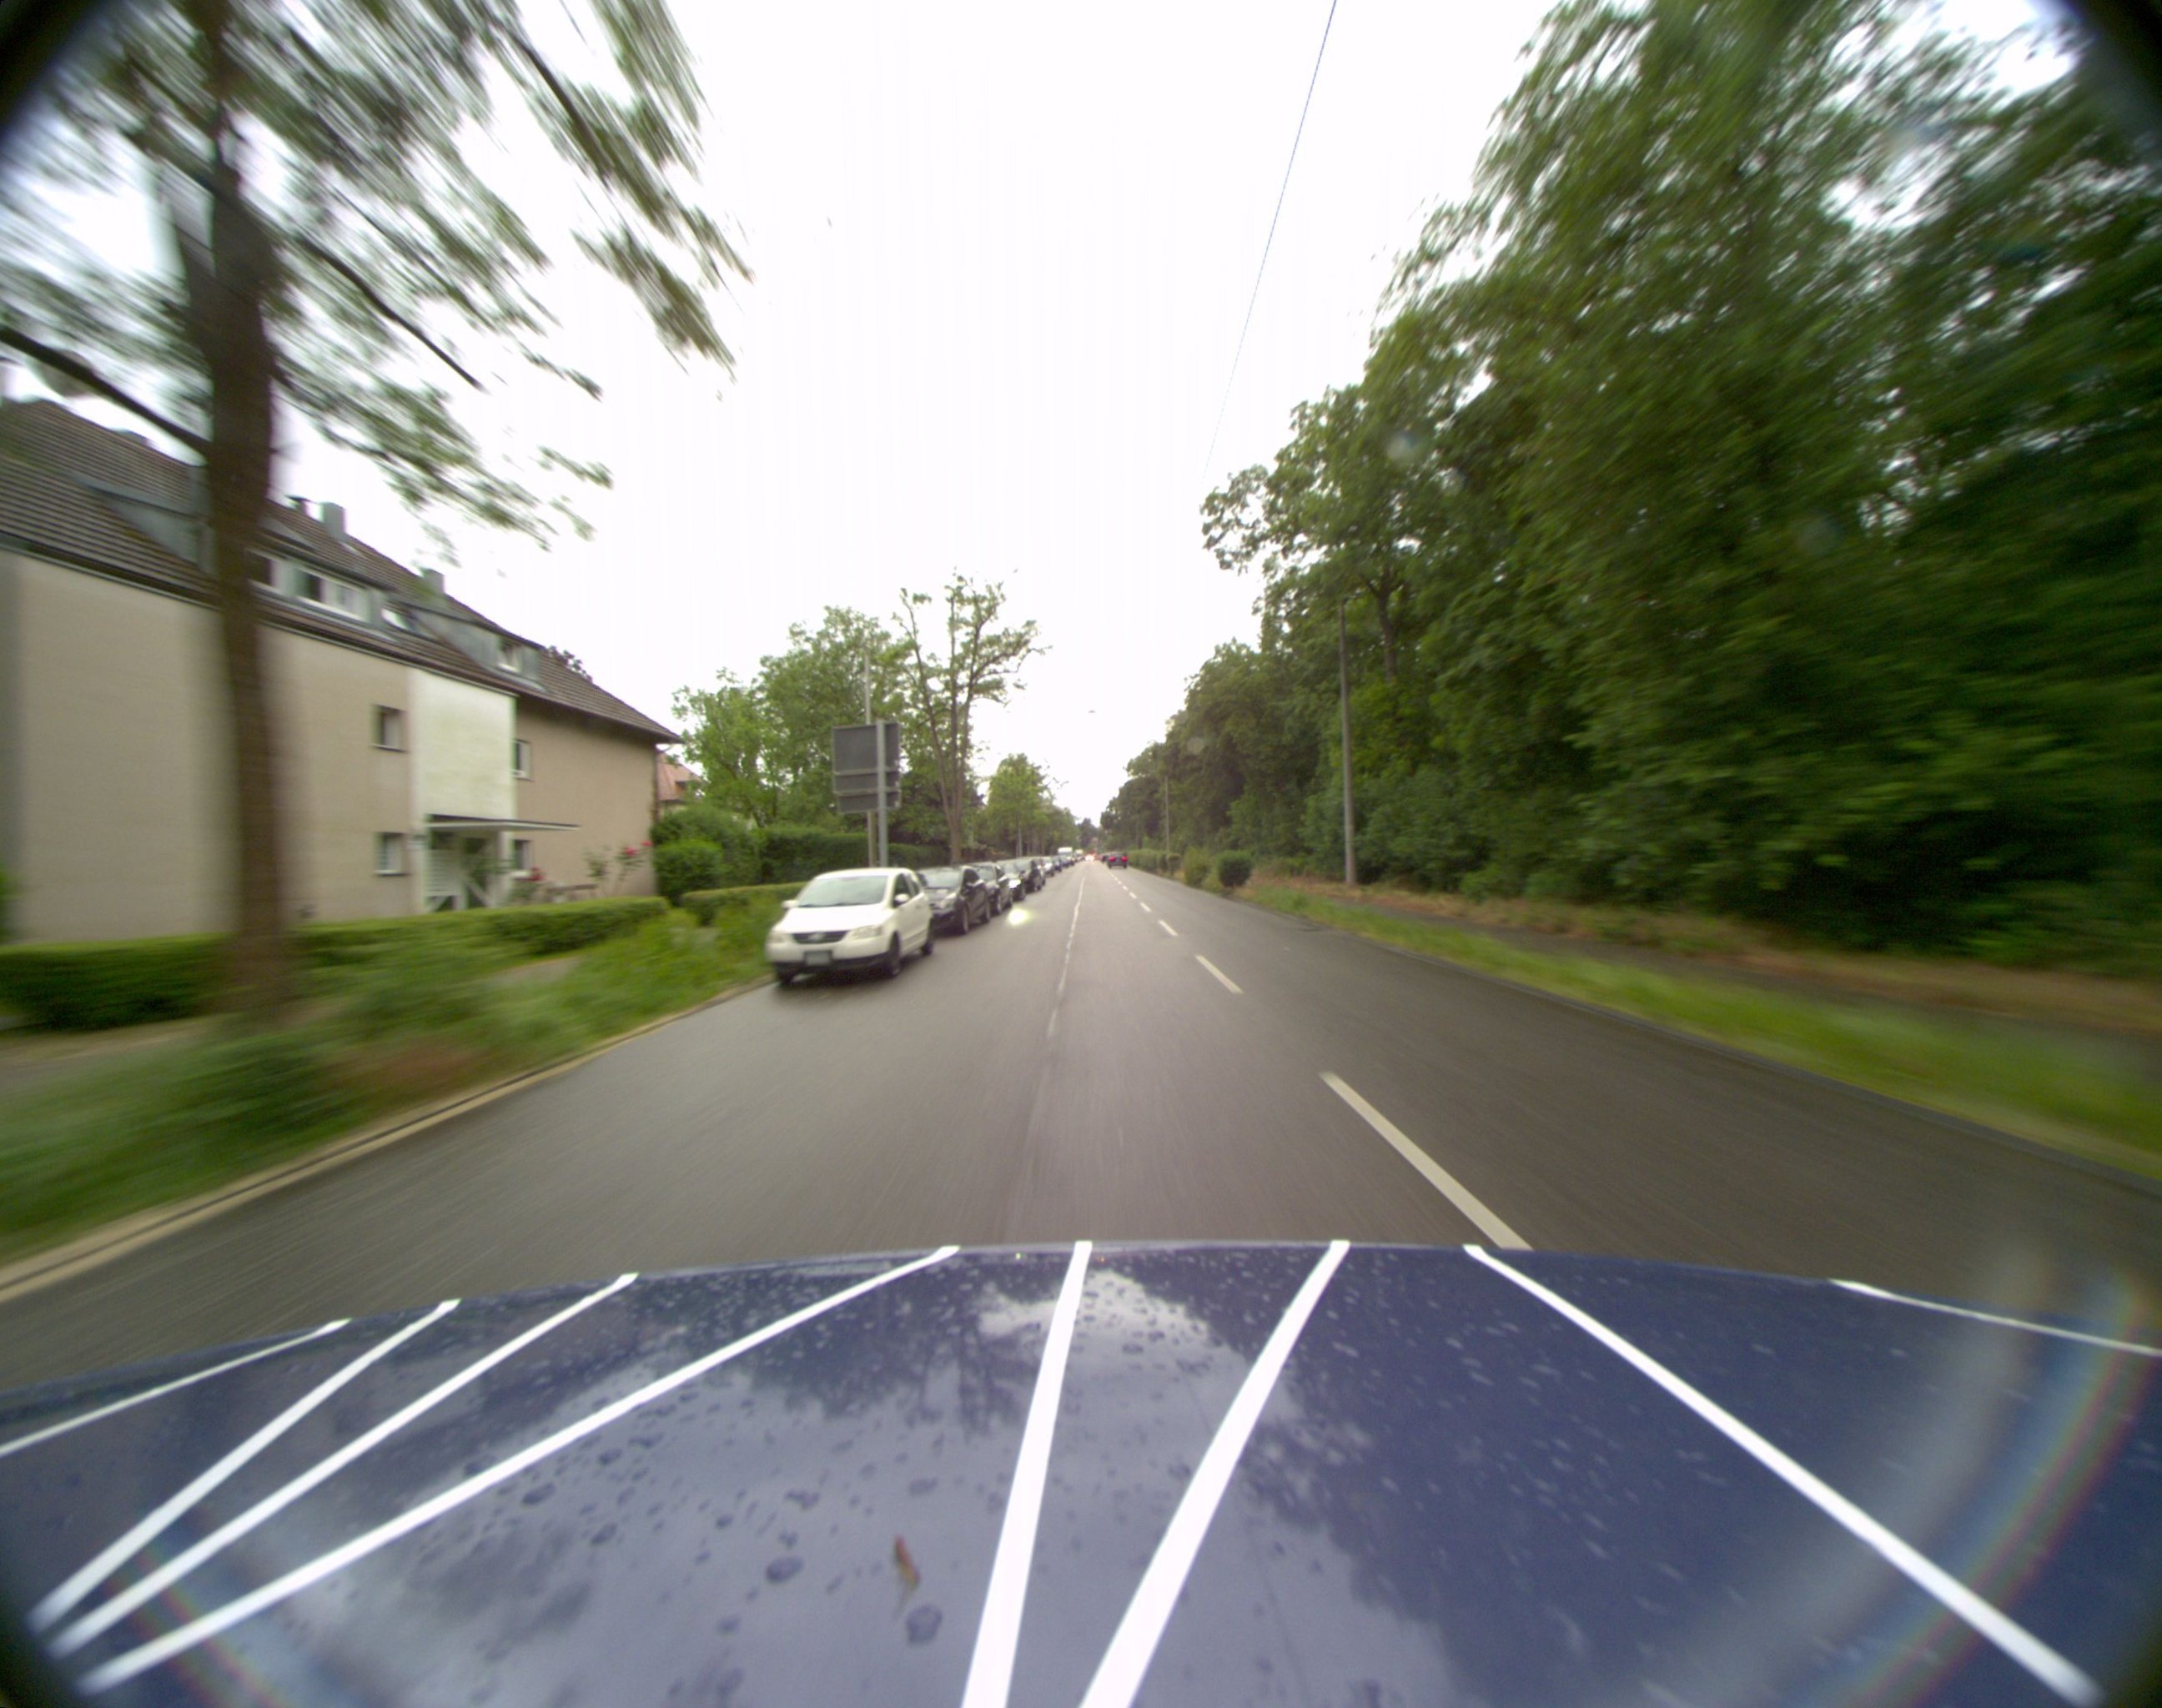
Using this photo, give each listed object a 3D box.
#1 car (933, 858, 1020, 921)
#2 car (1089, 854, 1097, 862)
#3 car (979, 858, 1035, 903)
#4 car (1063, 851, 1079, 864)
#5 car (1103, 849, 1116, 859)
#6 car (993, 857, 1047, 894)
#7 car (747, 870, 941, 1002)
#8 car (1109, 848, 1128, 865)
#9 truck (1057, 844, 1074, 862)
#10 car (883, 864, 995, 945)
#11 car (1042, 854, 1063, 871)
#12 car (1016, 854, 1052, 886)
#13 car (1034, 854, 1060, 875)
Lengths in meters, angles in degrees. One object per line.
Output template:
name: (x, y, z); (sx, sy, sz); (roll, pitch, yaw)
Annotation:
car: (-2.981, 0.967, 22.671); (1.757, 1.517, 4.823); (-3, 0, 1)
car: (2.960, 0.976, 187.038); (1.998, 2.002, 4.000); (-3, 1, 2)
car: (-2.721, 0.935, 28.782); (1.621, 1.459, 4.410); (-3, 0, 0)
car: (-1.177, 0.421, 89.448); (1.789, 1.452, 3.999); (-1, 1, -1)
car: (4.495, 0.007, 121.148); (1.851, 1.490, 3.999); (-1, 1, -1)
car: (-2.630, 0.899, 33.773); (1.732, 1.402, 4.001); (-3, 0, 4)
car: (-3.303, 1.069, 11.376); (1.575, 1.463, 3.765); (-3, 0, 1)
car: (3.823, 0.243, 78.033); (1.680, 1.608, 4.061); (-1, 1, 0)
truck: (-2.033, -0.102, 102.636); (2.230, 2.322, 5.113); (-1, 1, 0)
car: (-3.063, 1.031, 17.179); (1.621, 1.462, 3.944); (-3, 0, 1)
car: (-2.573, 0.733, 69.133); (1.675, 1.420, 3.699); (-3, 0, 1)
car: (-2.439, 0.815, 40.072); (1.601, 1.508, 2.801); (-3, 1, 1)
car: (-2.475, 0.769, 56.075); (1.675, 1.420, 3.699); (-3, 0, 1)
